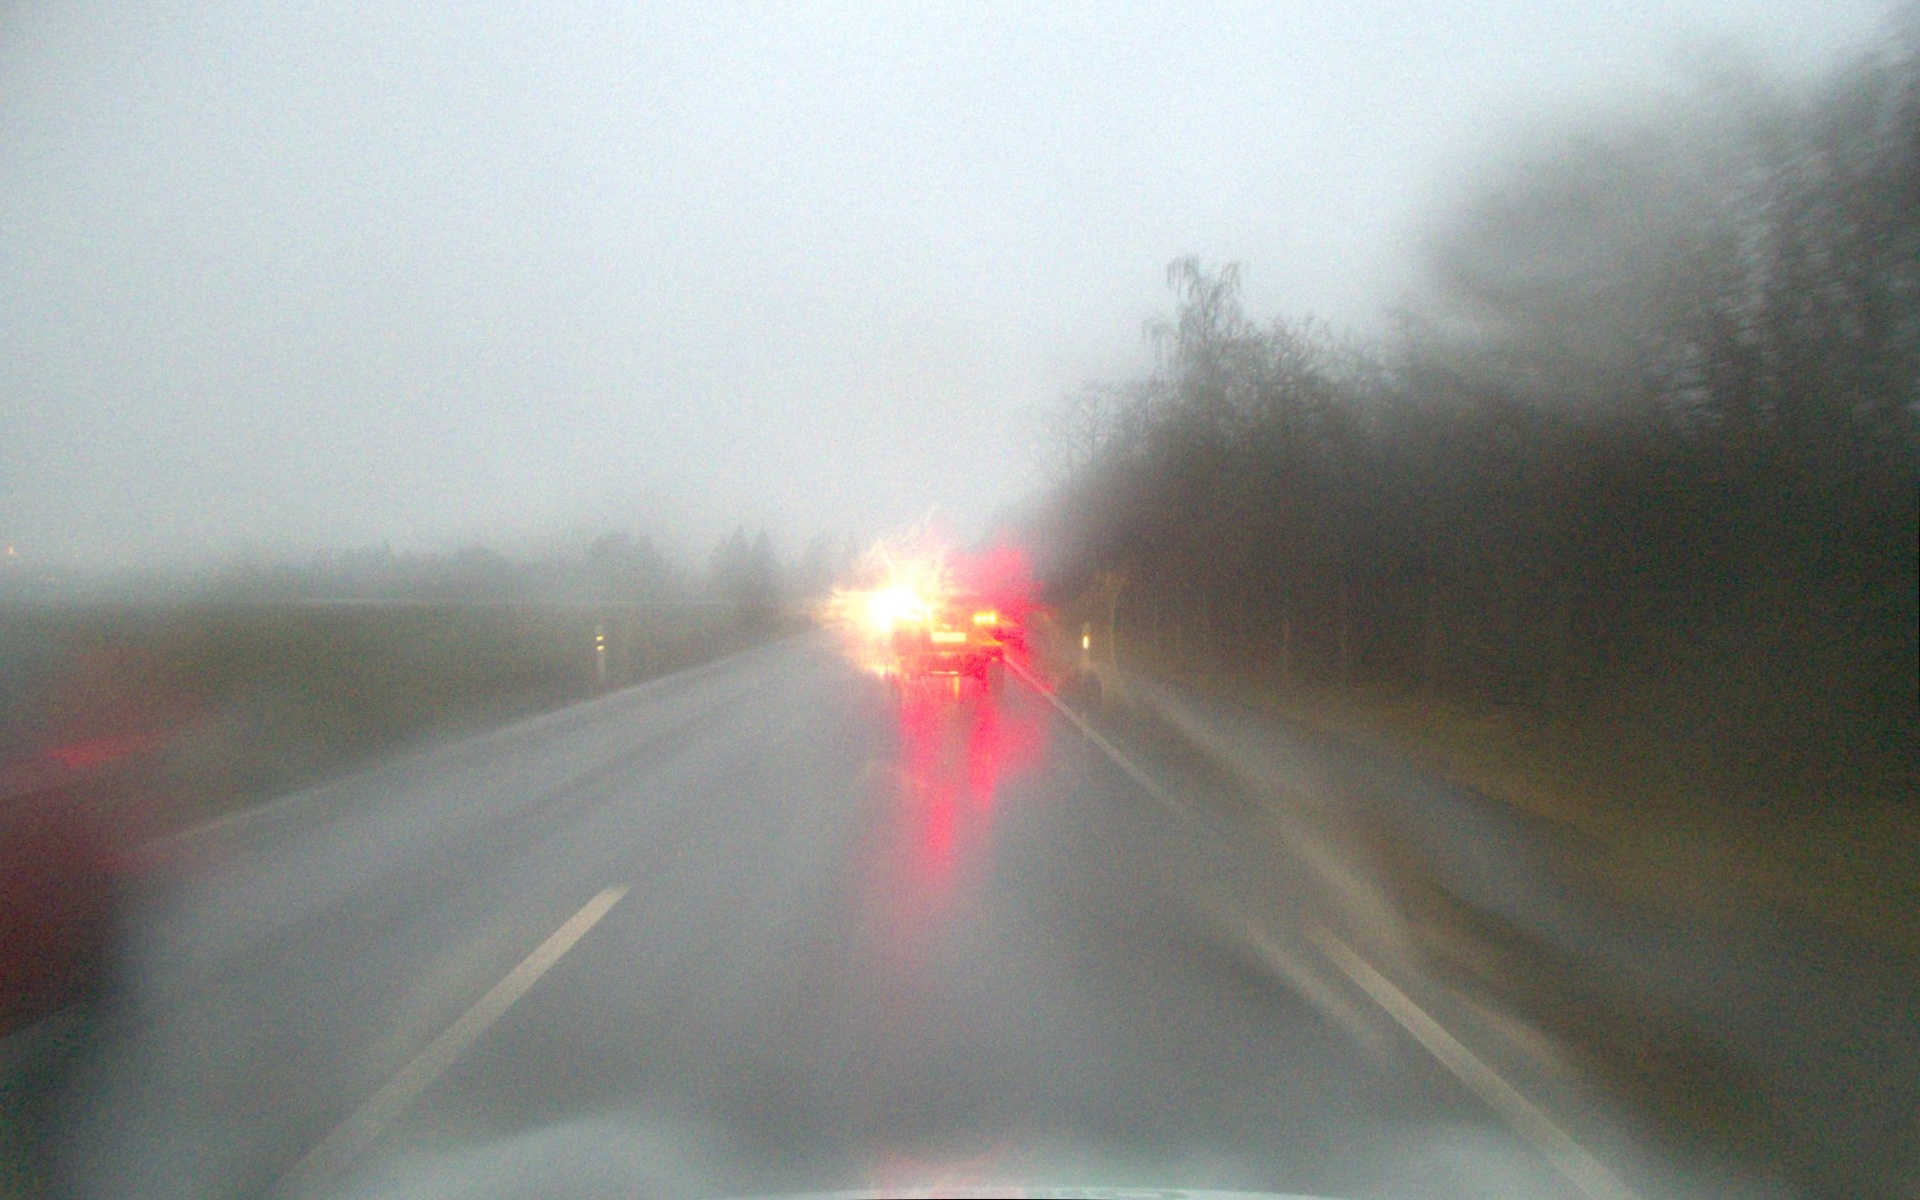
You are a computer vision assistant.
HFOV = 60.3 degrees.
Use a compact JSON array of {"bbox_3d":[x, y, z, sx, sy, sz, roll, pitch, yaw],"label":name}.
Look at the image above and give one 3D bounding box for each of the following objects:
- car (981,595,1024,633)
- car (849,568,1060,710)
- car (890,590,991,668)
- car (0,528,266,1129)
[{"bbox_3d":[2.065,0.668,81.004,1.889,1.780,3.999,1,0,-1],"label":"car"},{"bbox_3d":[-0.135,0.555,27.862,3.100,2.071,6.850,-1,0,-1],"label":"car"},{"bbox_3d":[-0.580,0.754,47.937,2.700,2.071,6.589,-1,0,-1],"label":"car"},{"bbox_3d":[-3.542,0.675,4.260,1.694,1.675,4.261,-3,0,-1],"label":"car"}]
